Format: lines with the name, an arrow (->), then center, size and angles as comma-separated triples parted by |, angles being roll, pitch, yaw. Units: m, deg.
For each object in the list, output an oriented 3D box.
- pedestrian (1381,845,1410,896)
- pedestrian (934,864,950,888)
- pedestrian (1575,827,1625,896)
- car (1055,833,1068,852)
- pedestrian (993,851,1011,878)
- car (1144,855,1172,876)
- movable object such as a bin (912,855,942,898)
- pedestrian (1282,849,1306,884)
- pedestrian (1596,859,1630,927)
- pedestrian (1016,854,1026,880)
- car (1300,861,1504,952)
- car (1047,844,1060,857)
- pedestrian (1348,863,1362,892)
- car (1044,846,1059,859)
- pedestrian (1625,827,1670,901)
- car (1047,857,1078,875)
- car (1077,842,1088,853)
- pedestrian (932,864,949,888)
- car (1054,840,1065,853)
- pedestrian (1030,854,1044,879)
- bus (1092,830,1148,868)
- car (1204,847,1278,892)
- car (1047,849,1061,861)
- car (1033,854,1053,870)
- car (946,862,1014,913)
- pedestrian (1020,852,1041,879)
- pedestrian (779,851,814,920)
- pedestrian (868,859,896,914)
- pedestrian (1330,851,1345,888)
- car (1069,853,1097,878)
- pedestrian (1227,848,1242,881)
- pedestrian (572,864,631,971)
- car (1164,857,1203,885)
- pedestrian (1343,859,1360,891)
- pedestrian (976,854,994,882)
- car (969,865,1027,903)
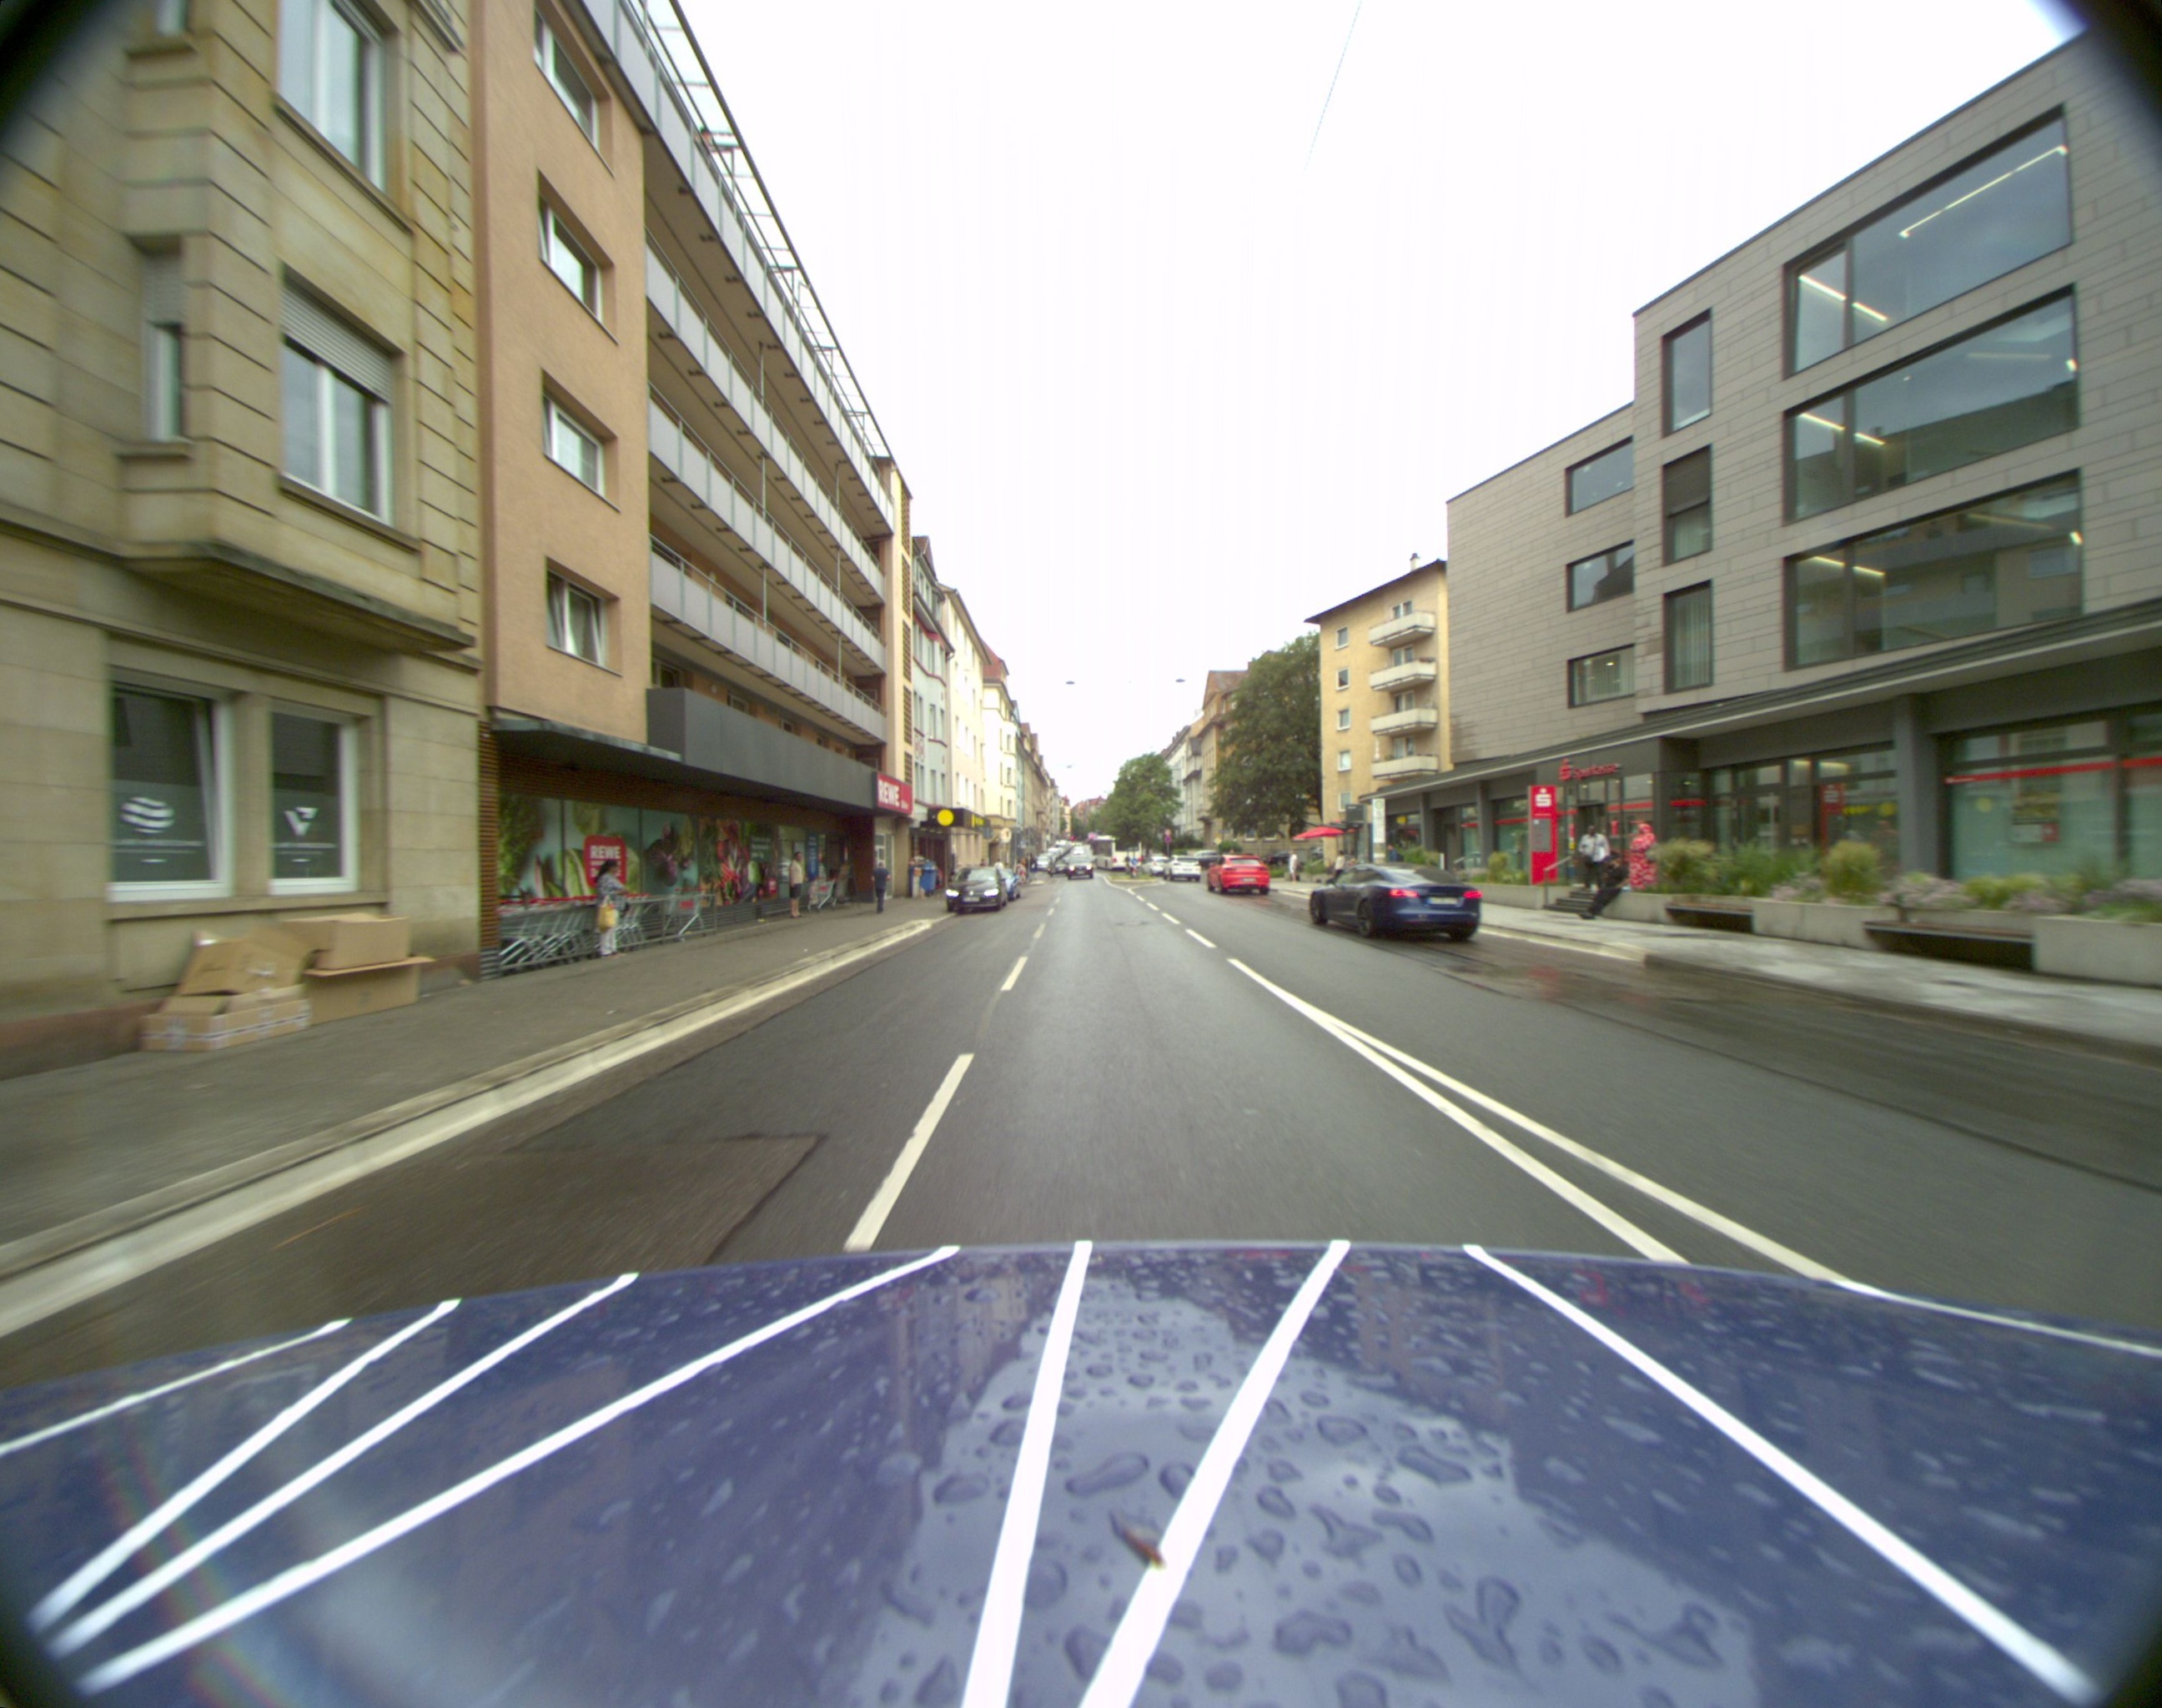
pedestrian -> 11.321, 0.584, 27.380 | 0.591, 1.809, 0.870 | -1, 1, -8
pedestrian -> -7.371, 1.145, 40.316 | 0.703, 1.250, 0.658 | 1, 1, 0
pedestrian -> 12.848, 0.176, 18.814 | 0.715, 1.669, 0.713 | -1, 1, 0
car -> -3.854, -2.394, 152.779 | 2.554, 3.613, 9.048 | -2, 1, -1
pedestrian -> -4.805, 0.625, 45.994 | 0.701, 1.637, 0.784 | 2, 1, 34
car -> 5.746, 0.809, 57.055 | 1.619, 1.455, 3.805 | 2, 1, 0
movable object such as a bin -> -6.618, 0.931, 32.706 | 1.002, 1.783, 1.296 | -1, 1, -2
pedestrian -> 10.804, 0.629, 38.571 | 0.793, 1.699, 0.761 | -4, 1, -25
pedestrian -> 11.427, 0.827, 16.327 | 0.590, 1.412, 0.726 | -1, 1, 35
pedestrian -> -4.037, 0.888, 50.952 | 0.611, 1.738, 0.698 | 1, 1, 0
car -> 6.184, 0.919, 15.418 | 1.960, 1.503, 4.911 | 0, 0, -2
car -> -4.001, -0.545, 110.468 | 1.733, 1.887, 3.550 | -2, 1, -1
pedestrian -> 10.848, 0.934, 30.035 | 0.392, 1.110, 0.386 | -1, 1, 0
car -> -3.609, -0.147, 93.799 | 1.733, 1.486, 3.550 | -2, 1, -1
pedestrian -> 13.136, 0.232, 17.635 | 0.711, 1.669, 0.801 | -1, 1, 28
car -> -1.491, 0.952, 62.251 | 1.809, 1.411, 4.003 | -2, 0, 10
car -> 0.260, -1.138, 130.027 | 1.796, 1.768, 3.902 | -2, 1, -1
pedestrian -> -7.318, 1.150, 39.577 | 0.624, 1.250, 0.659 | 1, 1, 8
car -> -3.301, -1.131, 117.059 | 1.719, 1.871, 3.907 | -2, 1, -1
pedestrian -> -2.966, 0.856, 51.405 | 0.791, 1.656, 0.699 | 1, 1, 15
bus -> 3.495, -0.573, 72.272 | 2.815, 3.228, 11.949 | 3, 1, -8
car -> 6.751, 0.659, 32.611 | 2.111, 1.754, 5.061 | 0, -1, 0
car -> -3.581, 0.066, 100.123 | 1.733, 1.486, 3.550 | -2, 1, -1
car -> -3.793, 0.773, 75.911 | 1.856, 1.456, 4.203 | -2, 1, -1
car -> -3.342, 1.081, 25.760 | 1.734, 1.538, 3.981 | 0, 0, 1
pedestrian -> -3.260, 0.730, 49.174 | 1.061, 1.738, 0.855 | 1, 1, 24
pedestrian -> -7.899, 0.857, 21.096 | 0.597, 1.848, 0.727 | -1, 1, 3
pedestrian -> -6.100, 0.995, 23.314 | 0.627, 1.642, 0.748 | 1, 0, 1
pedestrian -> 10.834, 0.669, 32.113 | 0.438, 1.540, 0.533 | -1, 1, -1
car -> 0.101, 0.803, 53.930 | 1.856, 1.646, 4.204 | -1, 0, -2
pedestrian -> 9.417, 0.633, 46.583 | 0.703, 2.002, 0.782 | -2, 1, -4
pedestrian -> -7.292, 0.942, 11.580 | 0.563, 1.563, 0.626 | -1, 1, -16
car -> 6.454, 1.031, 48.196 | 1.900, 1.564, 4.124 | 1, 1, 0
pedestrian -> 10.853, 0.843, 30.516 | 0.469, 1.269, 0.549 | -1, 1, 0
pedestrian -> -5.837, 0.850, 46.358 | 0.701, 1.637, 0.784 | 2, 1, 34
car -> -3.330, 1.183, 31.129 | 1.739, 1.302, 3.767 | -3, 0, 2
